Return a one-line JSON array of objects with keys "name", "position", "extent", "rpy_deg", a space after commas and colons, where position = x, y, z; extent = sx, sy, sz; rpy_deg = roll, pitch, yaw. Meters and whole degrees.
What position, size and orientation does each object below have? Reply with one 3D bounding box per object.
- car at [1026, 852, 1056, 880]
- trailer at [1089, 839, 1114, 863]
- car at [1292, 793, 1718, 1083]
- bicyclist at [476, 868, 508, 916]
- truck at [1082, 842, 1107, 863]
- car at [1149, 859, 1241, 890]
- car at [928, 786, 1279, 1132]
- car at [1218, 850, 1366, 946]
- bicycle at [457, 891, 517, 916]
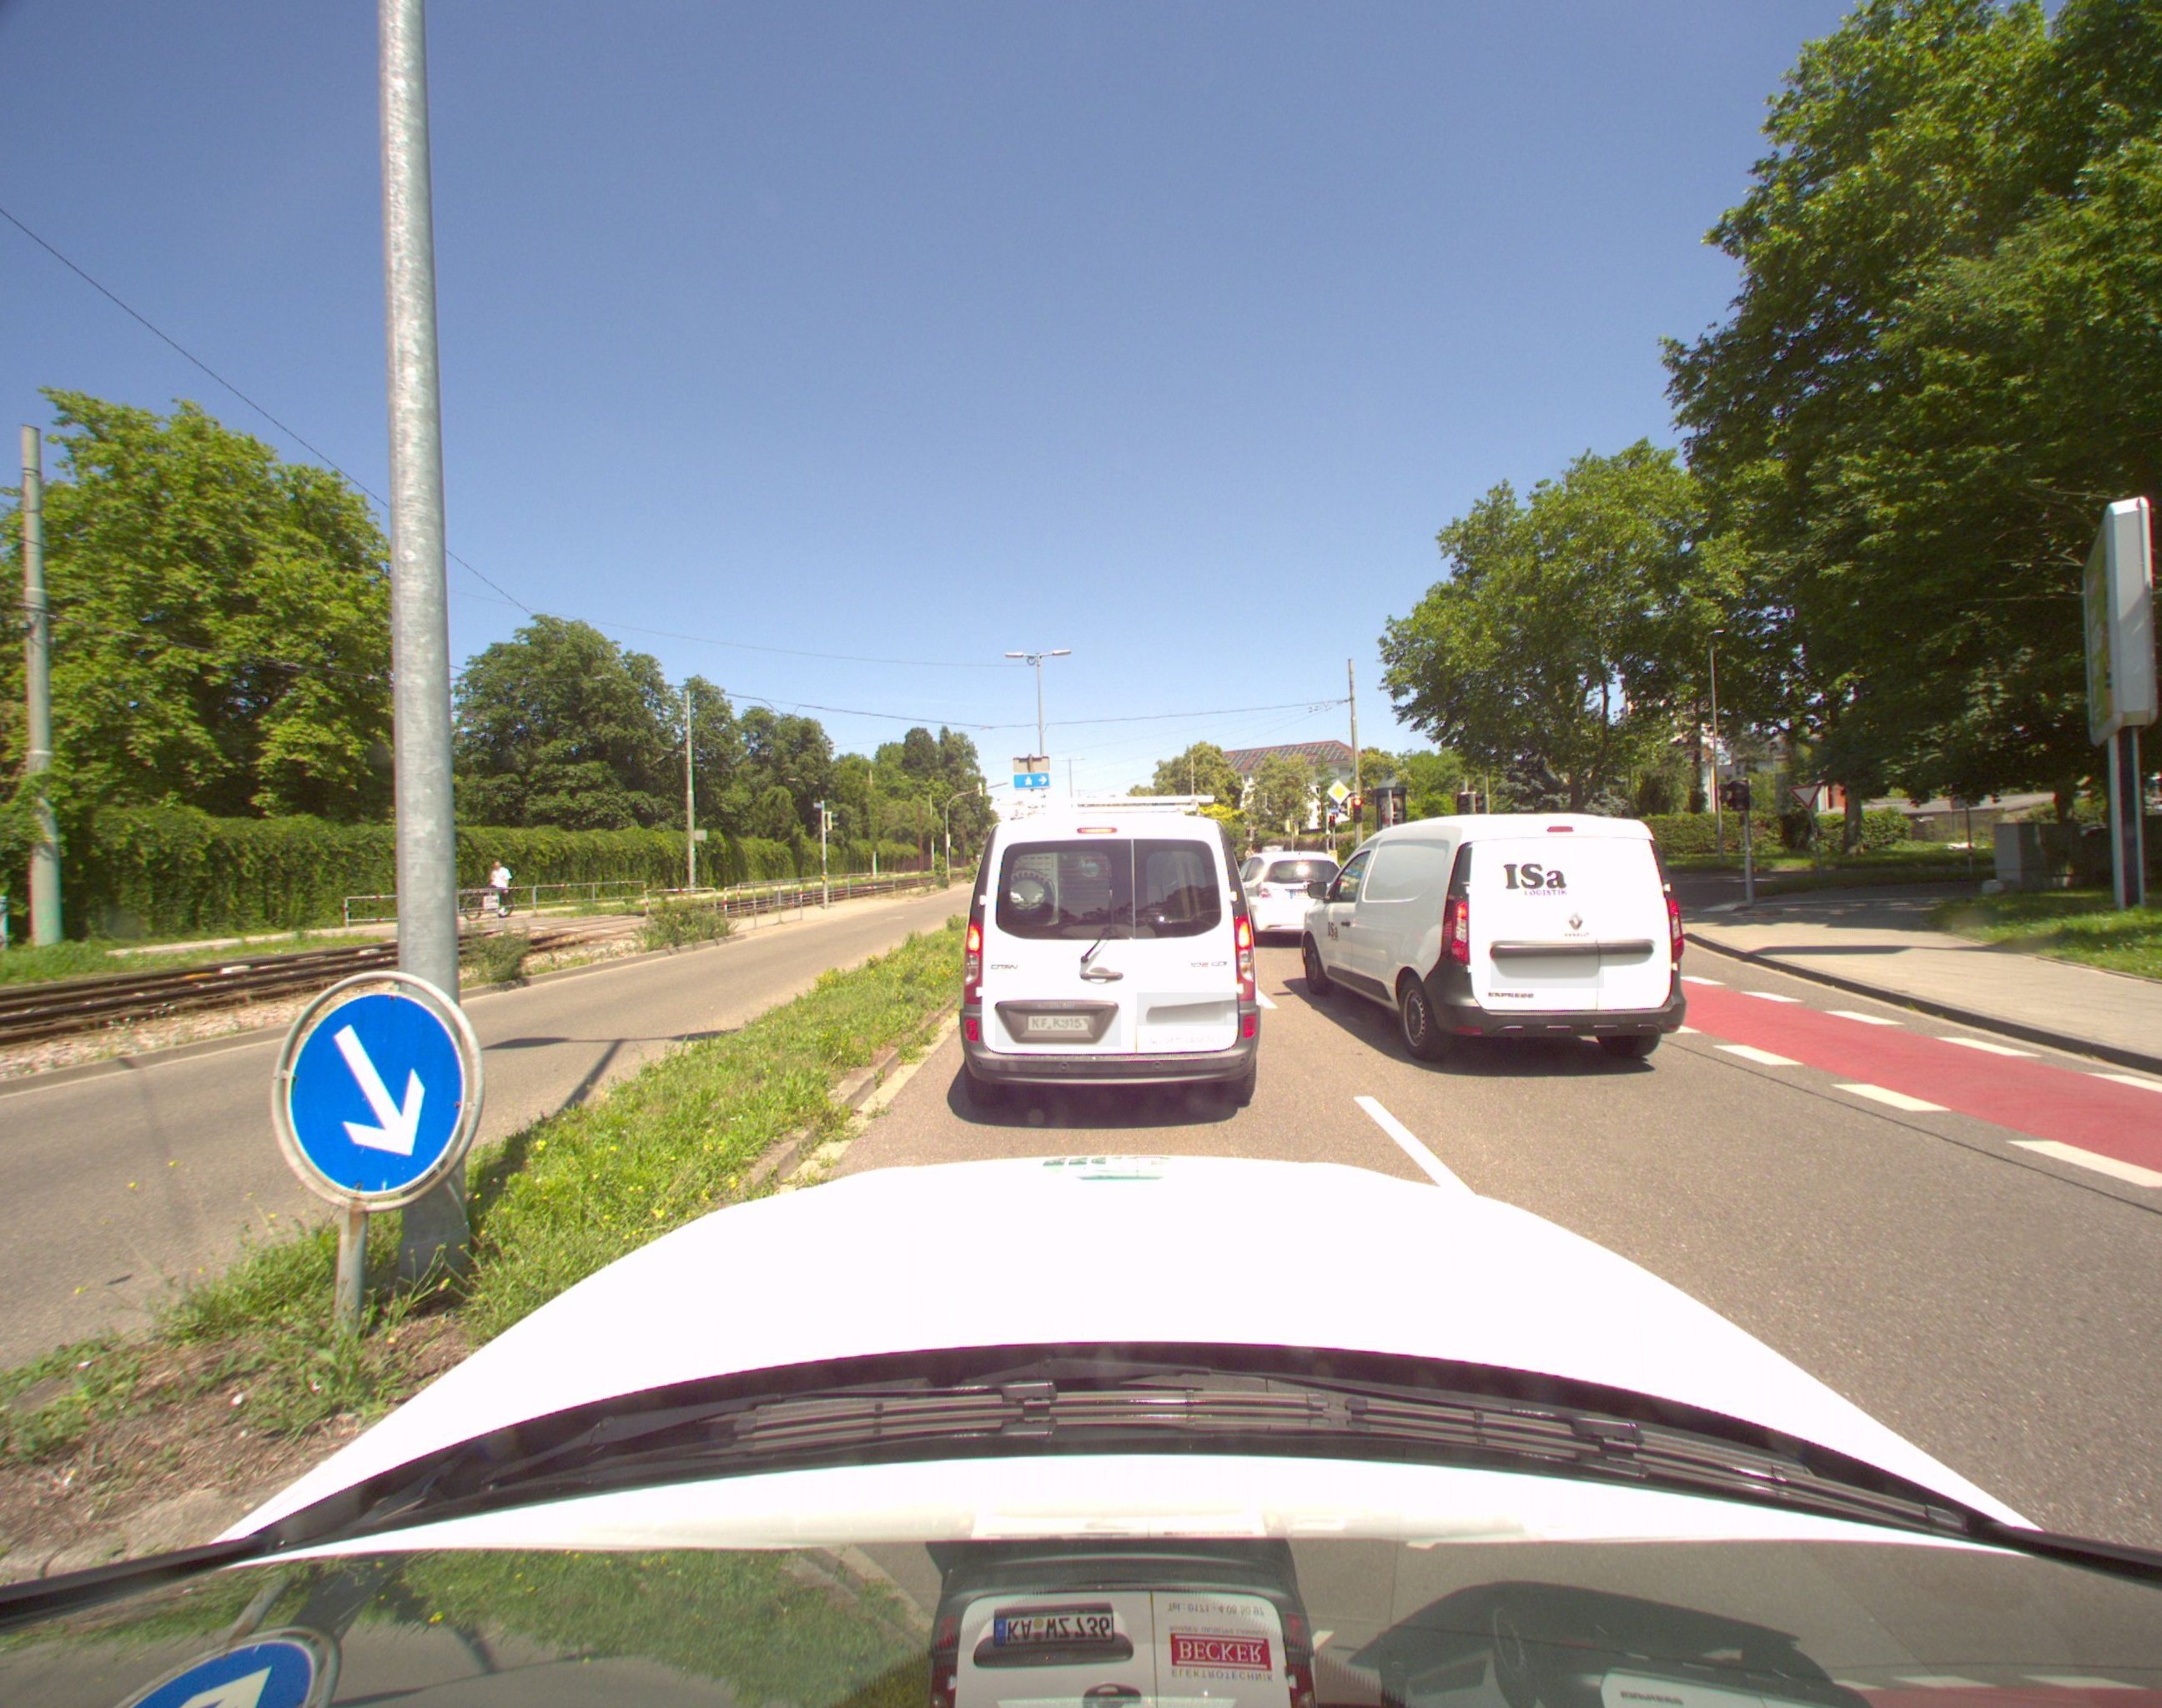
[{"name": "car", "position": [-3.028, 0.877, 61.875], "extent": [1.987, 2.013, 4.000], "rpy_deg": [-2, 0, 0]}, {"name": "trailer", "position": [3.612, -0.534, 145.832], "extent": [3.522, 4.050, 8.961], "rpy_deg": [-2, 0, -5]}, {"name": "car", "position": [3.242, 0.537, 7.232], "extent": [1.704, 1.830, 4.013], "rpy_deg": [-1, 0, 0]}, {"name": "bicyclist", "position": [-18.653, 1.203, 25.782], "extent": [0.555, 1.478, 0.562], "rpy_deg": [-2, 0, 2]}, {"name": "truck", "position": [2.552, -0.271, 154.714], "extent": [3.572, 3.632, 8.788], "rpy_deg": [-2, 0, -6]}, {"name": "car", "position": [5.289, 0.956, 38.000], "extent": [3.834, 1.311, 1.708], "rpy_deg": [-2, 0, 34]}, {"name": "car", "position": [0.159, 0.563, 6.285], "extent": [1.860, 1.836, 3.849], "rpy_deg": [-1, 0, 1]}, {"name": "car", "position": [3.622, 0.691, 14.686], "extent": [1.749, 1.486, 4.002], "rpy_deg": [0, 0, 2]}, {"name": "bicycle", "position": [-18.648, 1.541, 25.606], "extent": [0.559, 0.647, 1.721], "rpy_deg": [-2, 0, 3]}]
